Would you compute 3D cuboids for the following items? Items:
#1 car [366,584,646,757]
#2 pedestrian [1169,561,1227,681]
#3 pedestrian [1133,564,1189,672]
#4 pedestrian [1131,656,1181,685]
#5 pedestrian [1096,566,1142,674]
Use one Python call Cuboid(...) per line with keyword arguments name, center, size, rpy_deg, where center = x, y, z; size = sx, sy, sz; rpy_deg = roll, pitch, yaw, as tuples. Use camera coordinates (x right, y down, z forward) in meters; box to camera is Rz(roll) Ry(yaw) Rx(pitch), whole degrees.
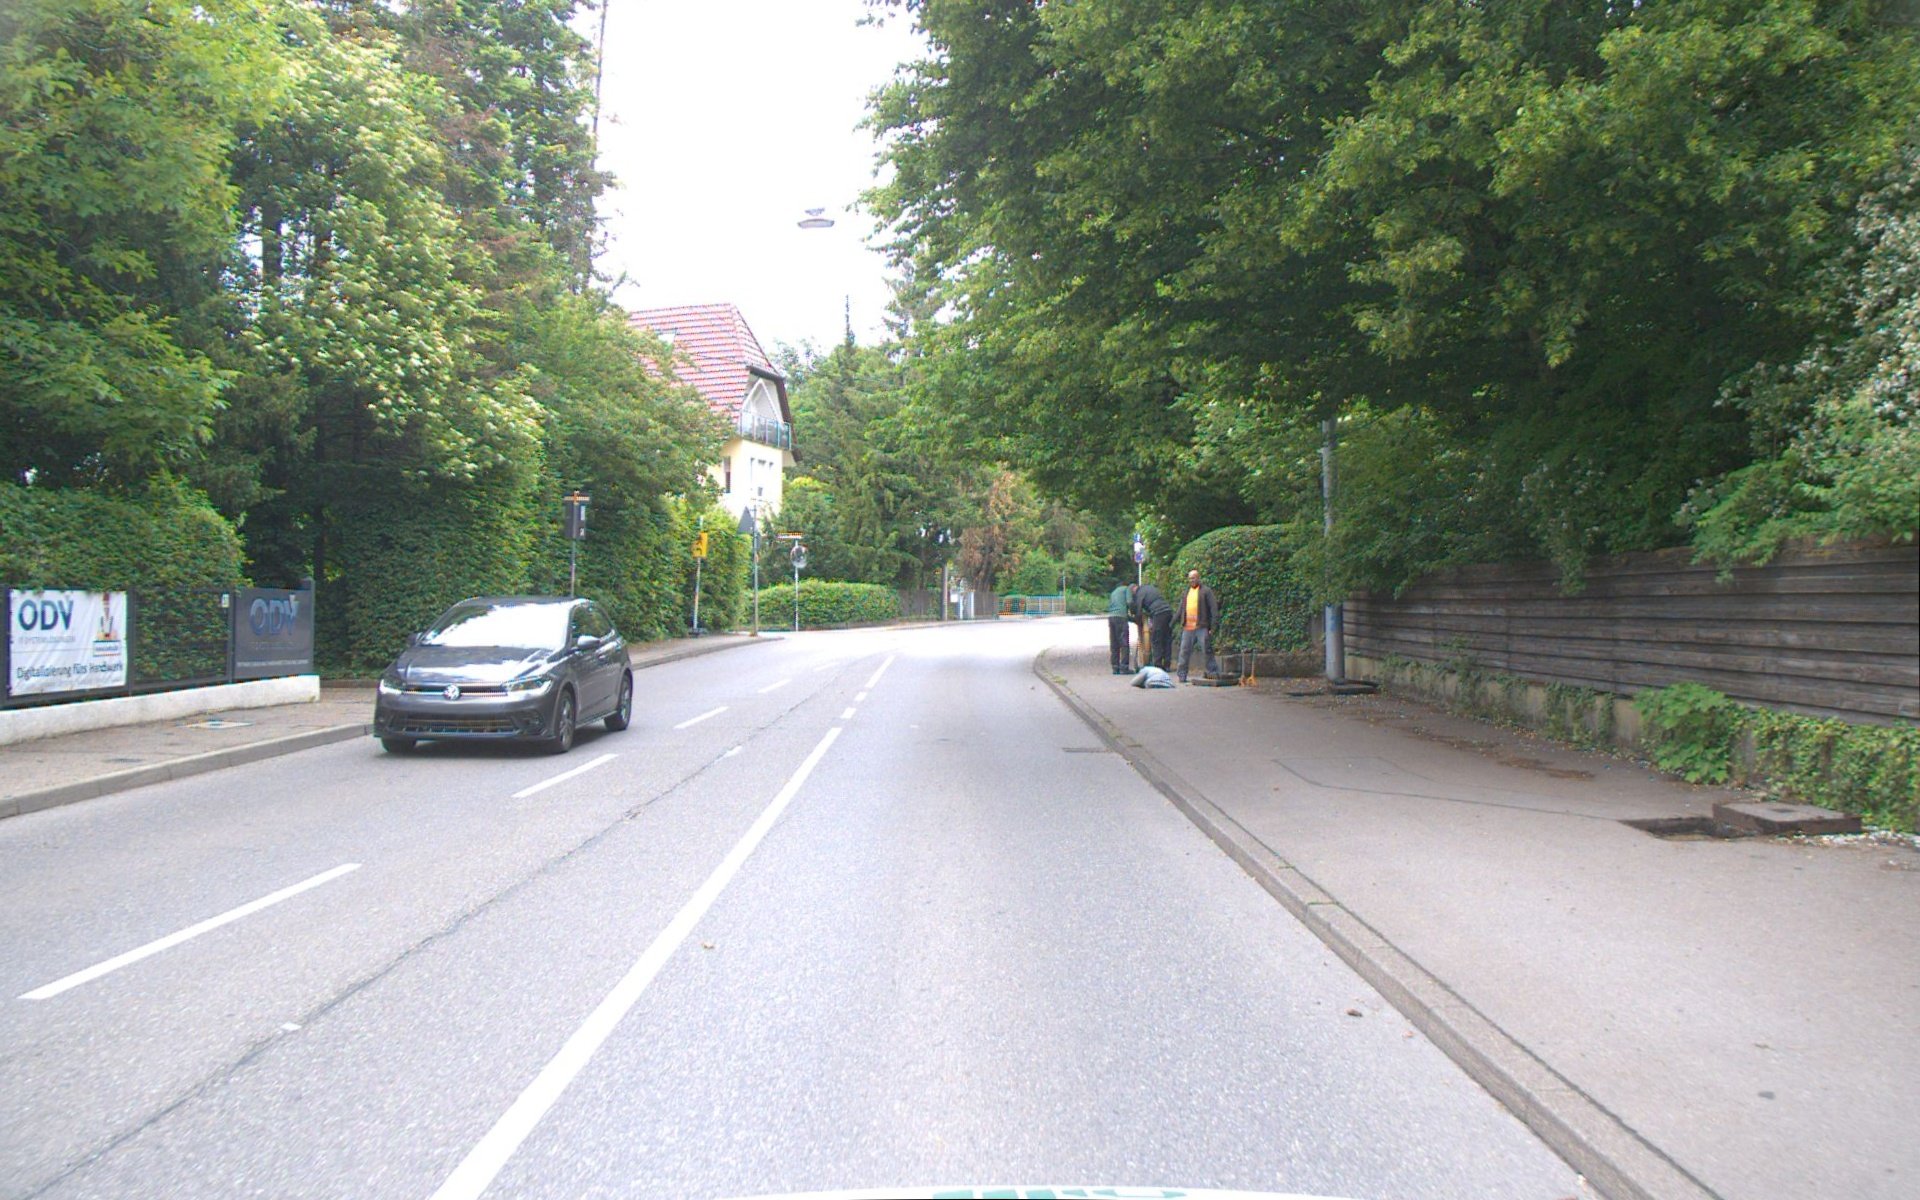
Cuboid(name="car", center=(-4.384, 0.606, 16.595), size=(1.646, 1.497, 4.018), rpy_deg=(-1, 0, 1))
Cuboid(name="pedestrian", center=(3.710, 0.321, 25.828), size=(0.790, 1.839, 0.741), rpy_deg=(0, 0, -1))
Cuboid(name="pedestrian", center=(3.481, 0.312, 28.652), size=(0.685, 1.839, 0.663), rpy_deg=(0, 0, -41))
Cuboid(name="pedestrian", center=(2.981, 1.070, 25.205), size=(0.658, 0.400, 0.741), rpy_deg=(0, 0, -1))
Cuboid(name="pedestrian", center=(2.745, 0.347, 28.531), size=(0.591, 1.839, 0.516), rpy_deg=(0, 0, 40))
